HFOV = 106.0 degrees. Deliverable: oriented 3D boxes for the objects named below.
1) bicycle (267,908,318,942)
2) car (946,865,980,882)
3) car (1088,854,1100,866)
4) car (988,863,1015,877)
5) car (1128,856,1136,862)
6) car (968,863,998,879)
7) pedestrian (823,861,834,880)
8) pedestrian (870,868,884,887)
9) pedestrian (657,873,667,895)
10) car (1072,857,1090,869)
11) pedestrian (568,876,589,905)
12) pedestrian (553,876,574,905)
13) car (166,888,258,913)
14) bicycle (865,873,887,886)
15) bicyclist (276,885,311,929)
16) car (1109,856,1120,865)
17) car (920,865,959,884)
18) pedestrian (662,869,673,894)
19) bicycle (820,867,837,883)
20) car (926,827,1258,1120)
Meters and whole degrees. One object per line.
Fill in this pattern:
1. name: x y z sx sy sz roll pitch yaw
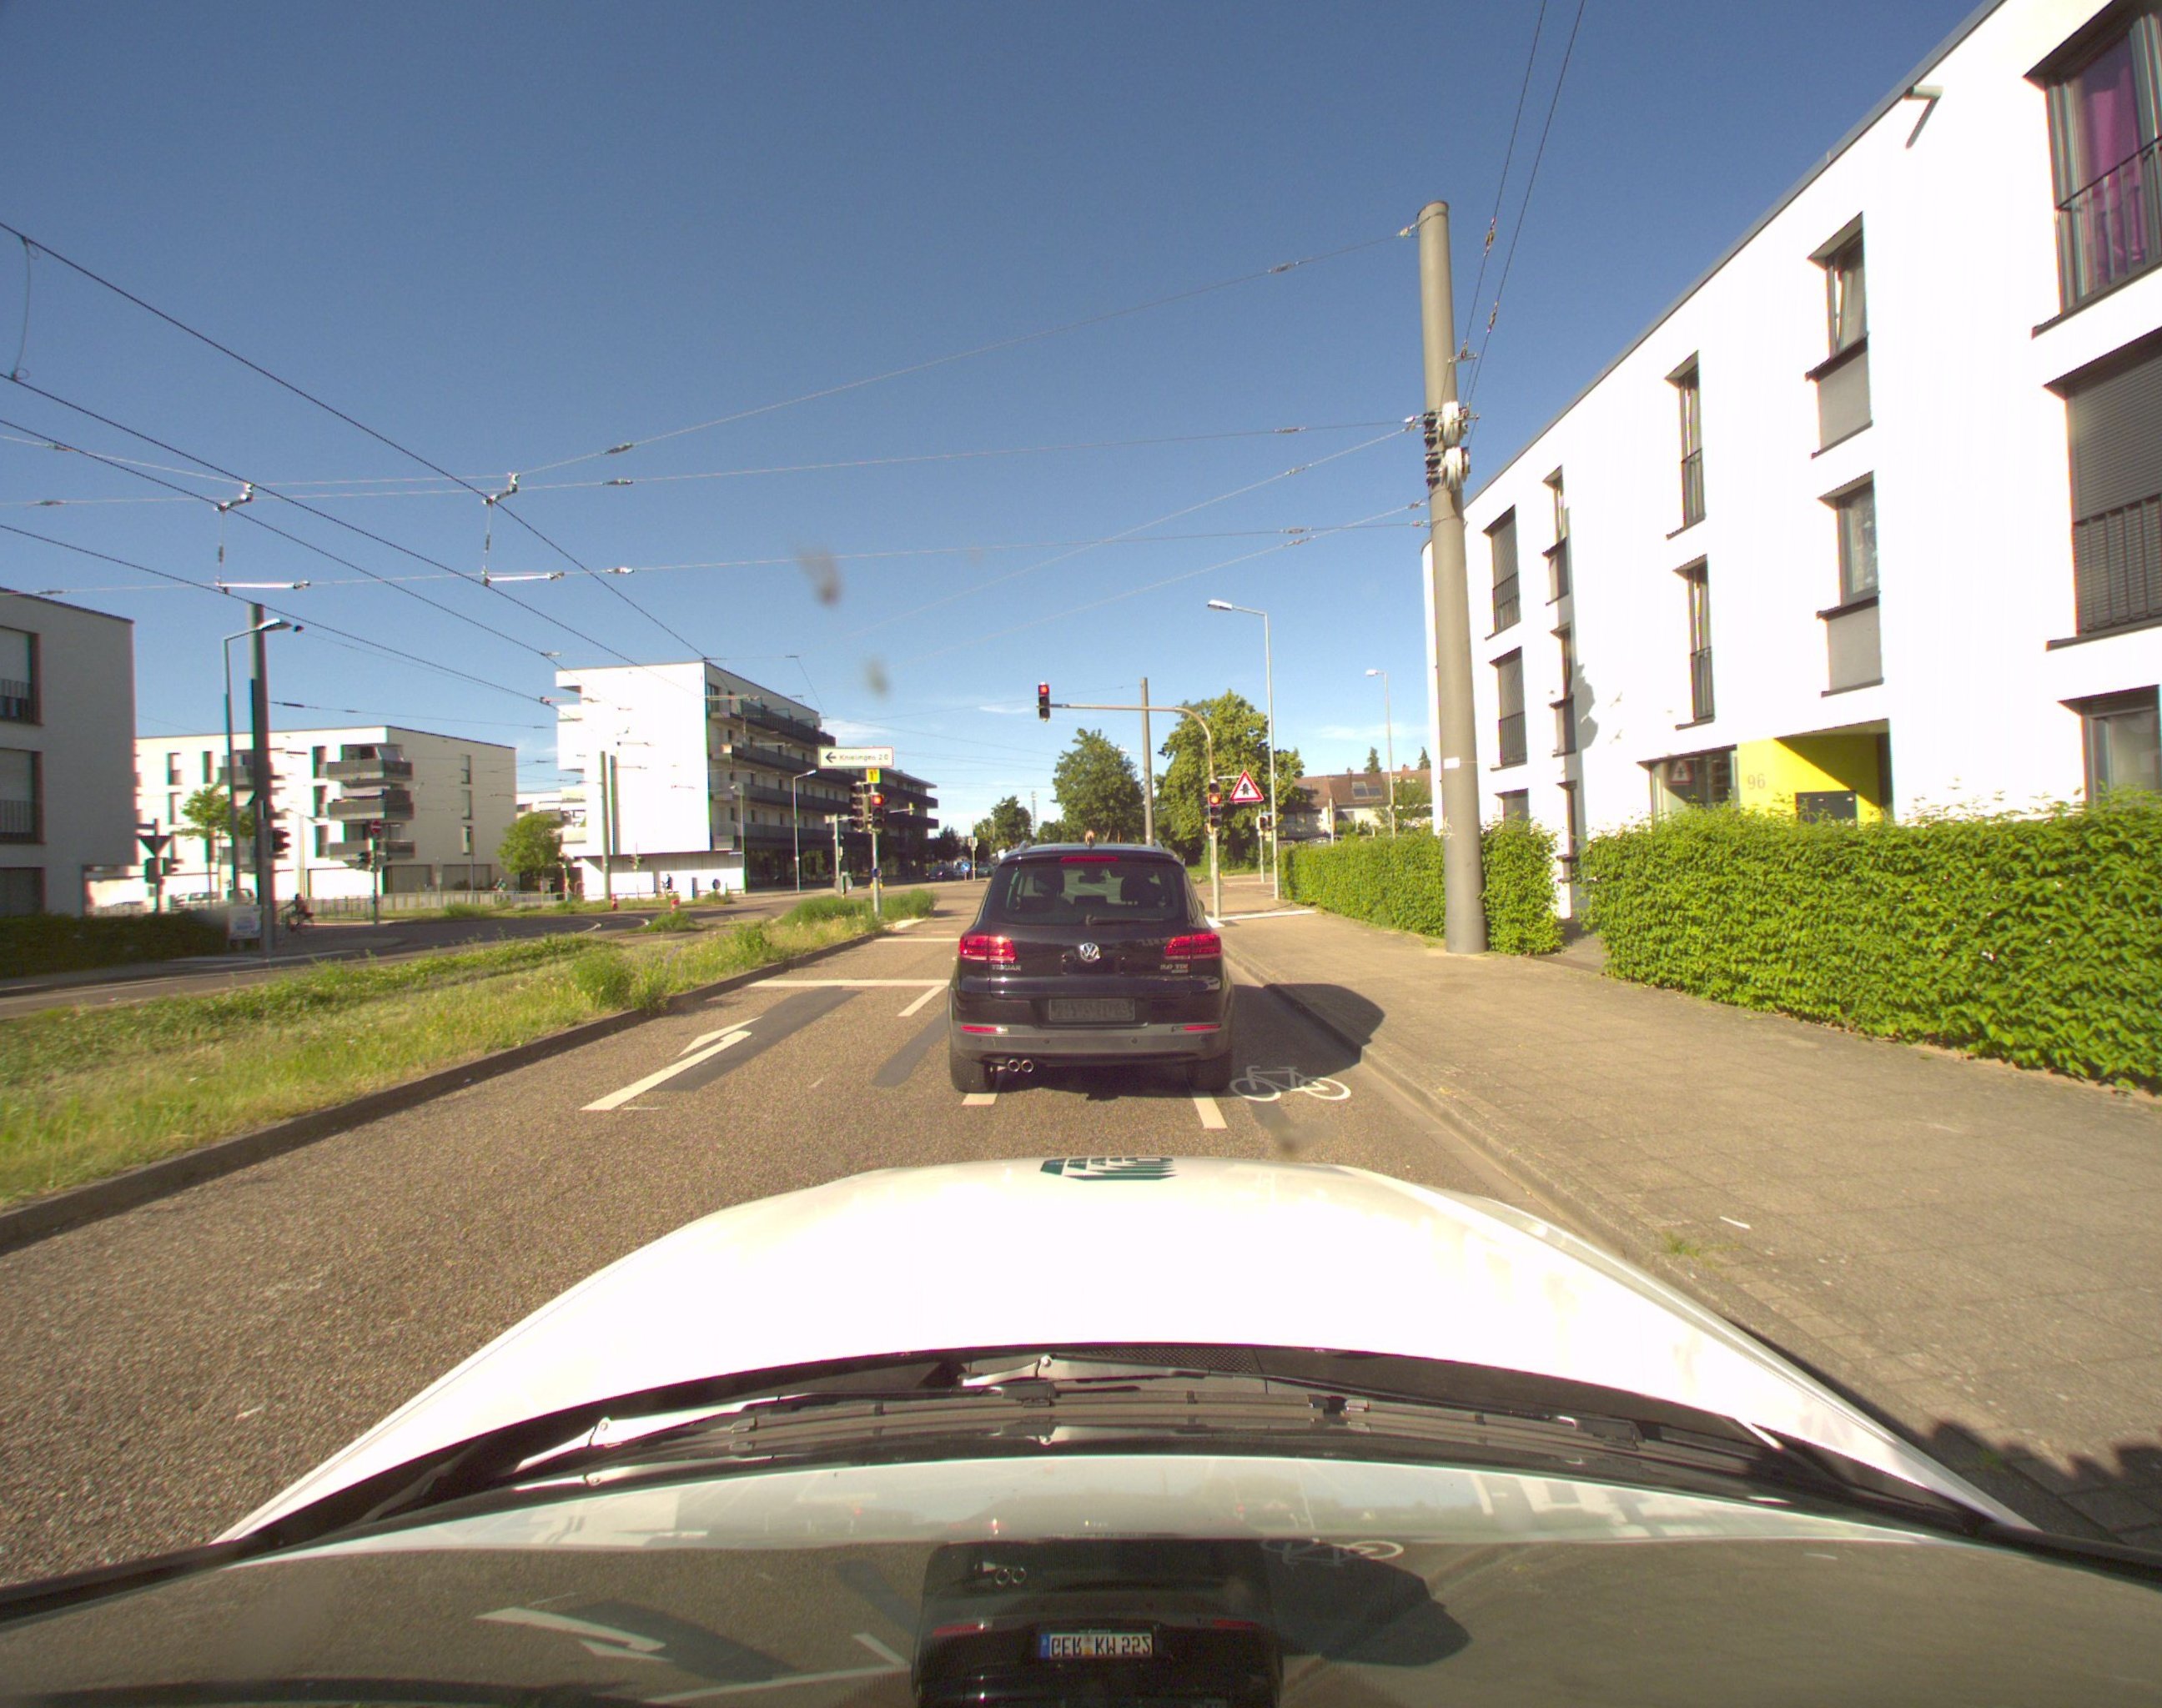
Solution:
1. bicycle: -29.899 2.662 30.916 0.824 1.124 1.845 0 -1 -26
2. car: -11.323 1.891 78.581 1.981 1.574 4.350 -1 -1 9
3. car: 2.136 0.966 132.979 1.855 1.720 3.690 -2 0 4
4. car: -8.883 1.761 91.434 1.981 1.574 4.350 -1 -1 9
5. car: 14.018 1.359 225.016 1.987 1.684 4.000 0 -1 0
6. car: -10.212 1.796 85.412 1.981 1.574 4.350 -1 -1 9
7. pedestrian: -20.851 1.368 67.190 0.639 1.509 0.597 0 -1 6
8. pedestrian: -16.152 1.825 64.466 0.707 1.474 0.956 -1 -1 9
9. pedestrian: -29.325 2.087 56.995 0.440 1.503 0.517 0 -1 -4
10. car: 0.055 1.242 113.357 1.852 1.485 4.121 -3 0 9
11. pedestrian: -28.748 2.085 46.635 0.770 1.605 0.741 0 -1 -5
12. pedestrian: -29.613 2.091 46.619 0.770 1.605 0.741 0 -1 -5
13. car: -58.878 3.151 55.218 4.305 1.574 2.002 0 -1 4
14. bicycle: -16.165 2.000 64.328 0.766 0.989 2.438 -1 -1 9
15. bicyclist: -29.891 2.015 30.936 0.787 1.614 0.635 0 -1 -27
16. car: 7.028 1.283 170.470 1.984 1.836 4.005 0 -1 5
17. car: -12.457 1.768 71.967 1.980 1.574 4.353 -1 -1 11
18. pedestrian: -29.198 1.952 57.544 0.542 1.744 0.517 0 -1 -4
19. bicycle: -20.846 1.724 67.148 0.627 1.332 1.916 0 -1 6
20. car: 0.123 0.690 6.595 1.862 1.637 4.001 0 -1 2
